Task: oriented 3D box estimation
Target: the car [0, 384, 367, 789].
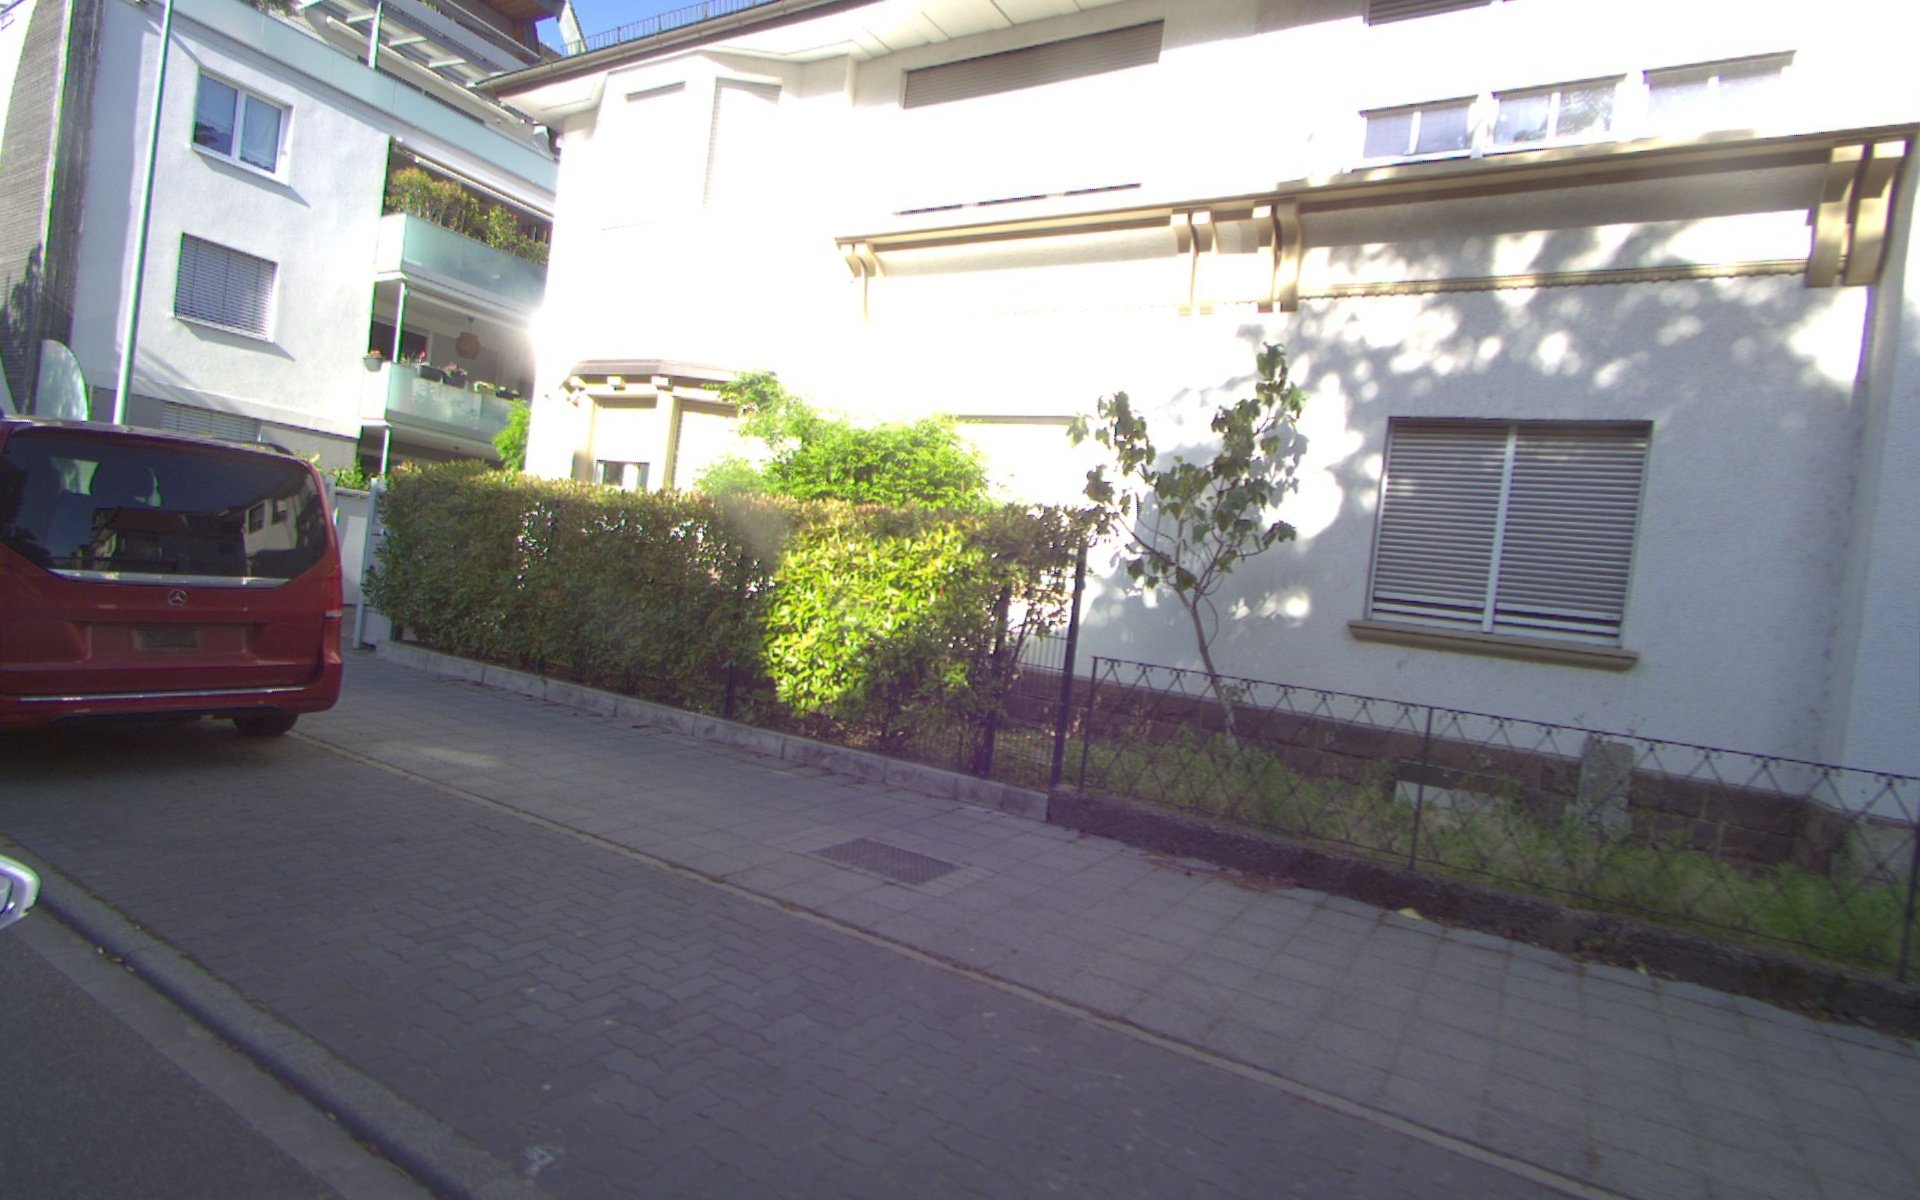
[{"bbox_3d":[-6.340,-0.245,6.768,5.113,1.930,1.872,6,1,33],"label":"car"}]
